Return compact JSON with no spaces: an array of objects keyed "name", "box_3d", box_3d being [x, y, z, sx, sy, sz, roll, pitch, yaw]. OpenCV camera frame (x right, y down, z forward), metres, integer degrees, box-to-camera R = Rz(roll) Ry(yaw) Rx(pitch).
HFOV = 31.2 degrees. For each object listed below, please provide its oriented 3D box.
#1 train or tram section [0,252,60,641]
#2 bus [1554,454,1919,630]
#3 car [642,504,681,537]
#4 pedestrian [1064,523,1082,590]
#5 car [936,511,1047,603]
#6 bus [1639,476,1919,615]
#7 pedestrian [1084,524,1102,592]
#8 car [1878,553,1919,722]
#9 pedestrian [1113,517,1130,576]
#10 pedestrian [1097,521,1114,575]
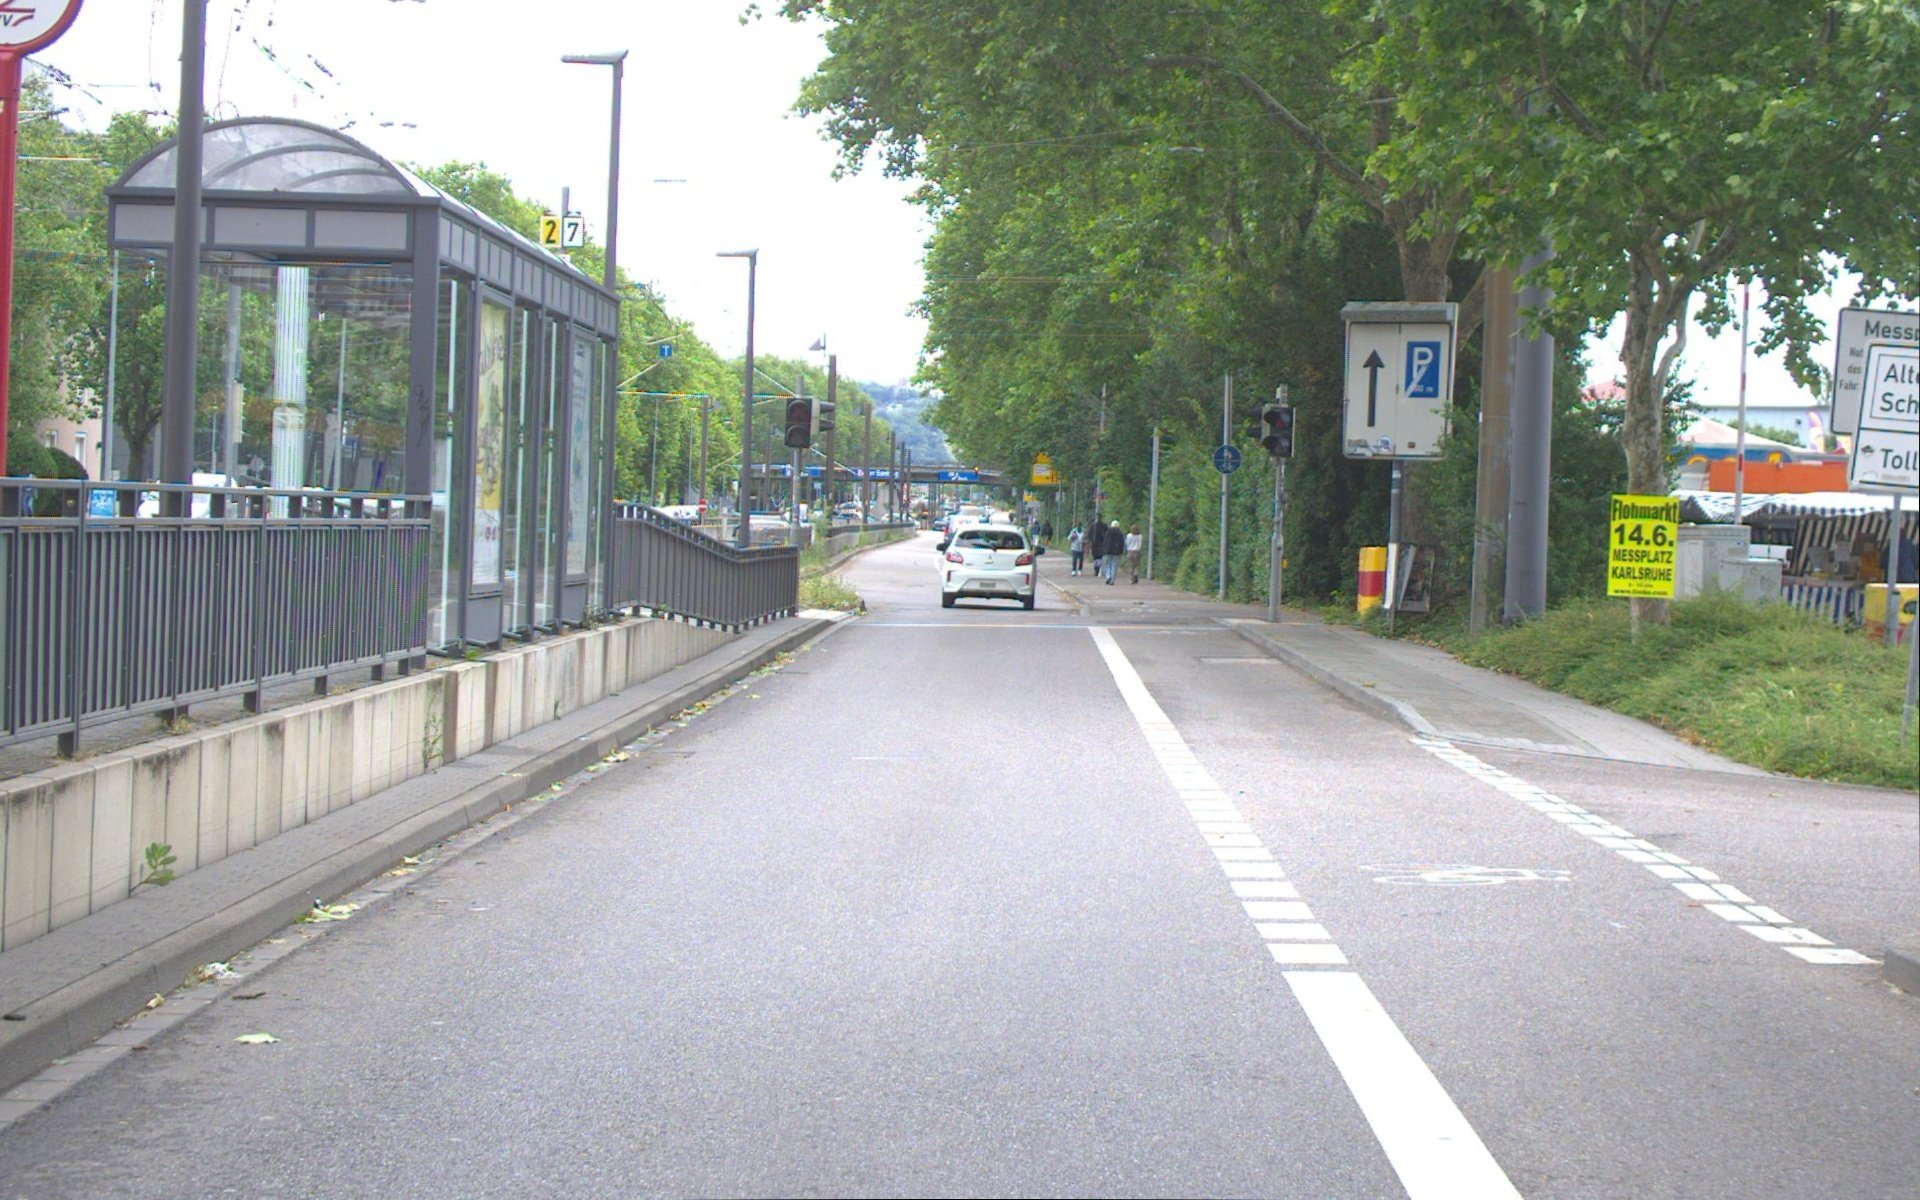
[{"name":"train or tram section","box_3d":[-11.965,-1.594,31.677,3.180,4.164,14.734,2,1,1]},{"name":"bus","box_3d":[15.647,-1.010,62.425,9.276,2.949,2.000,2,1,-2]},{"name":"car","box_3d":[-16.687,-4.434,192.146,1.993,1.787,4.001,2,1,-3]},{"name":"pedestrian","box_3d":[3.403,-1.308,103.352,0.396,2.007,0.402,2,1,16]},{"name":"car","box_3d":[0.593,-0.784,60.909,1.841,1.546,4.000,1,1,2]},{"name":"bus","box_3d":[16.579,-0.856,59.250,9.276,2.220,2.000,2,1,-2]},{"name":"pedestrian","box_3d":[4.003,-1.263,103.274,0.396,2.007,0.402,2,1,16]},{"name":"car","box_3d":[9.964,0.386,32.036,1.863,1.589,4.000,2,1,3]},{"name":"pedestrian","box_3d":[4.360,-1.432,92.727,0.396,1.580,0.538,2,1,5]},{"name":"pedestrian","box_3d":[3.922,-1.400,92.735,0.396,1.439,0.563,2,1,6]}]
